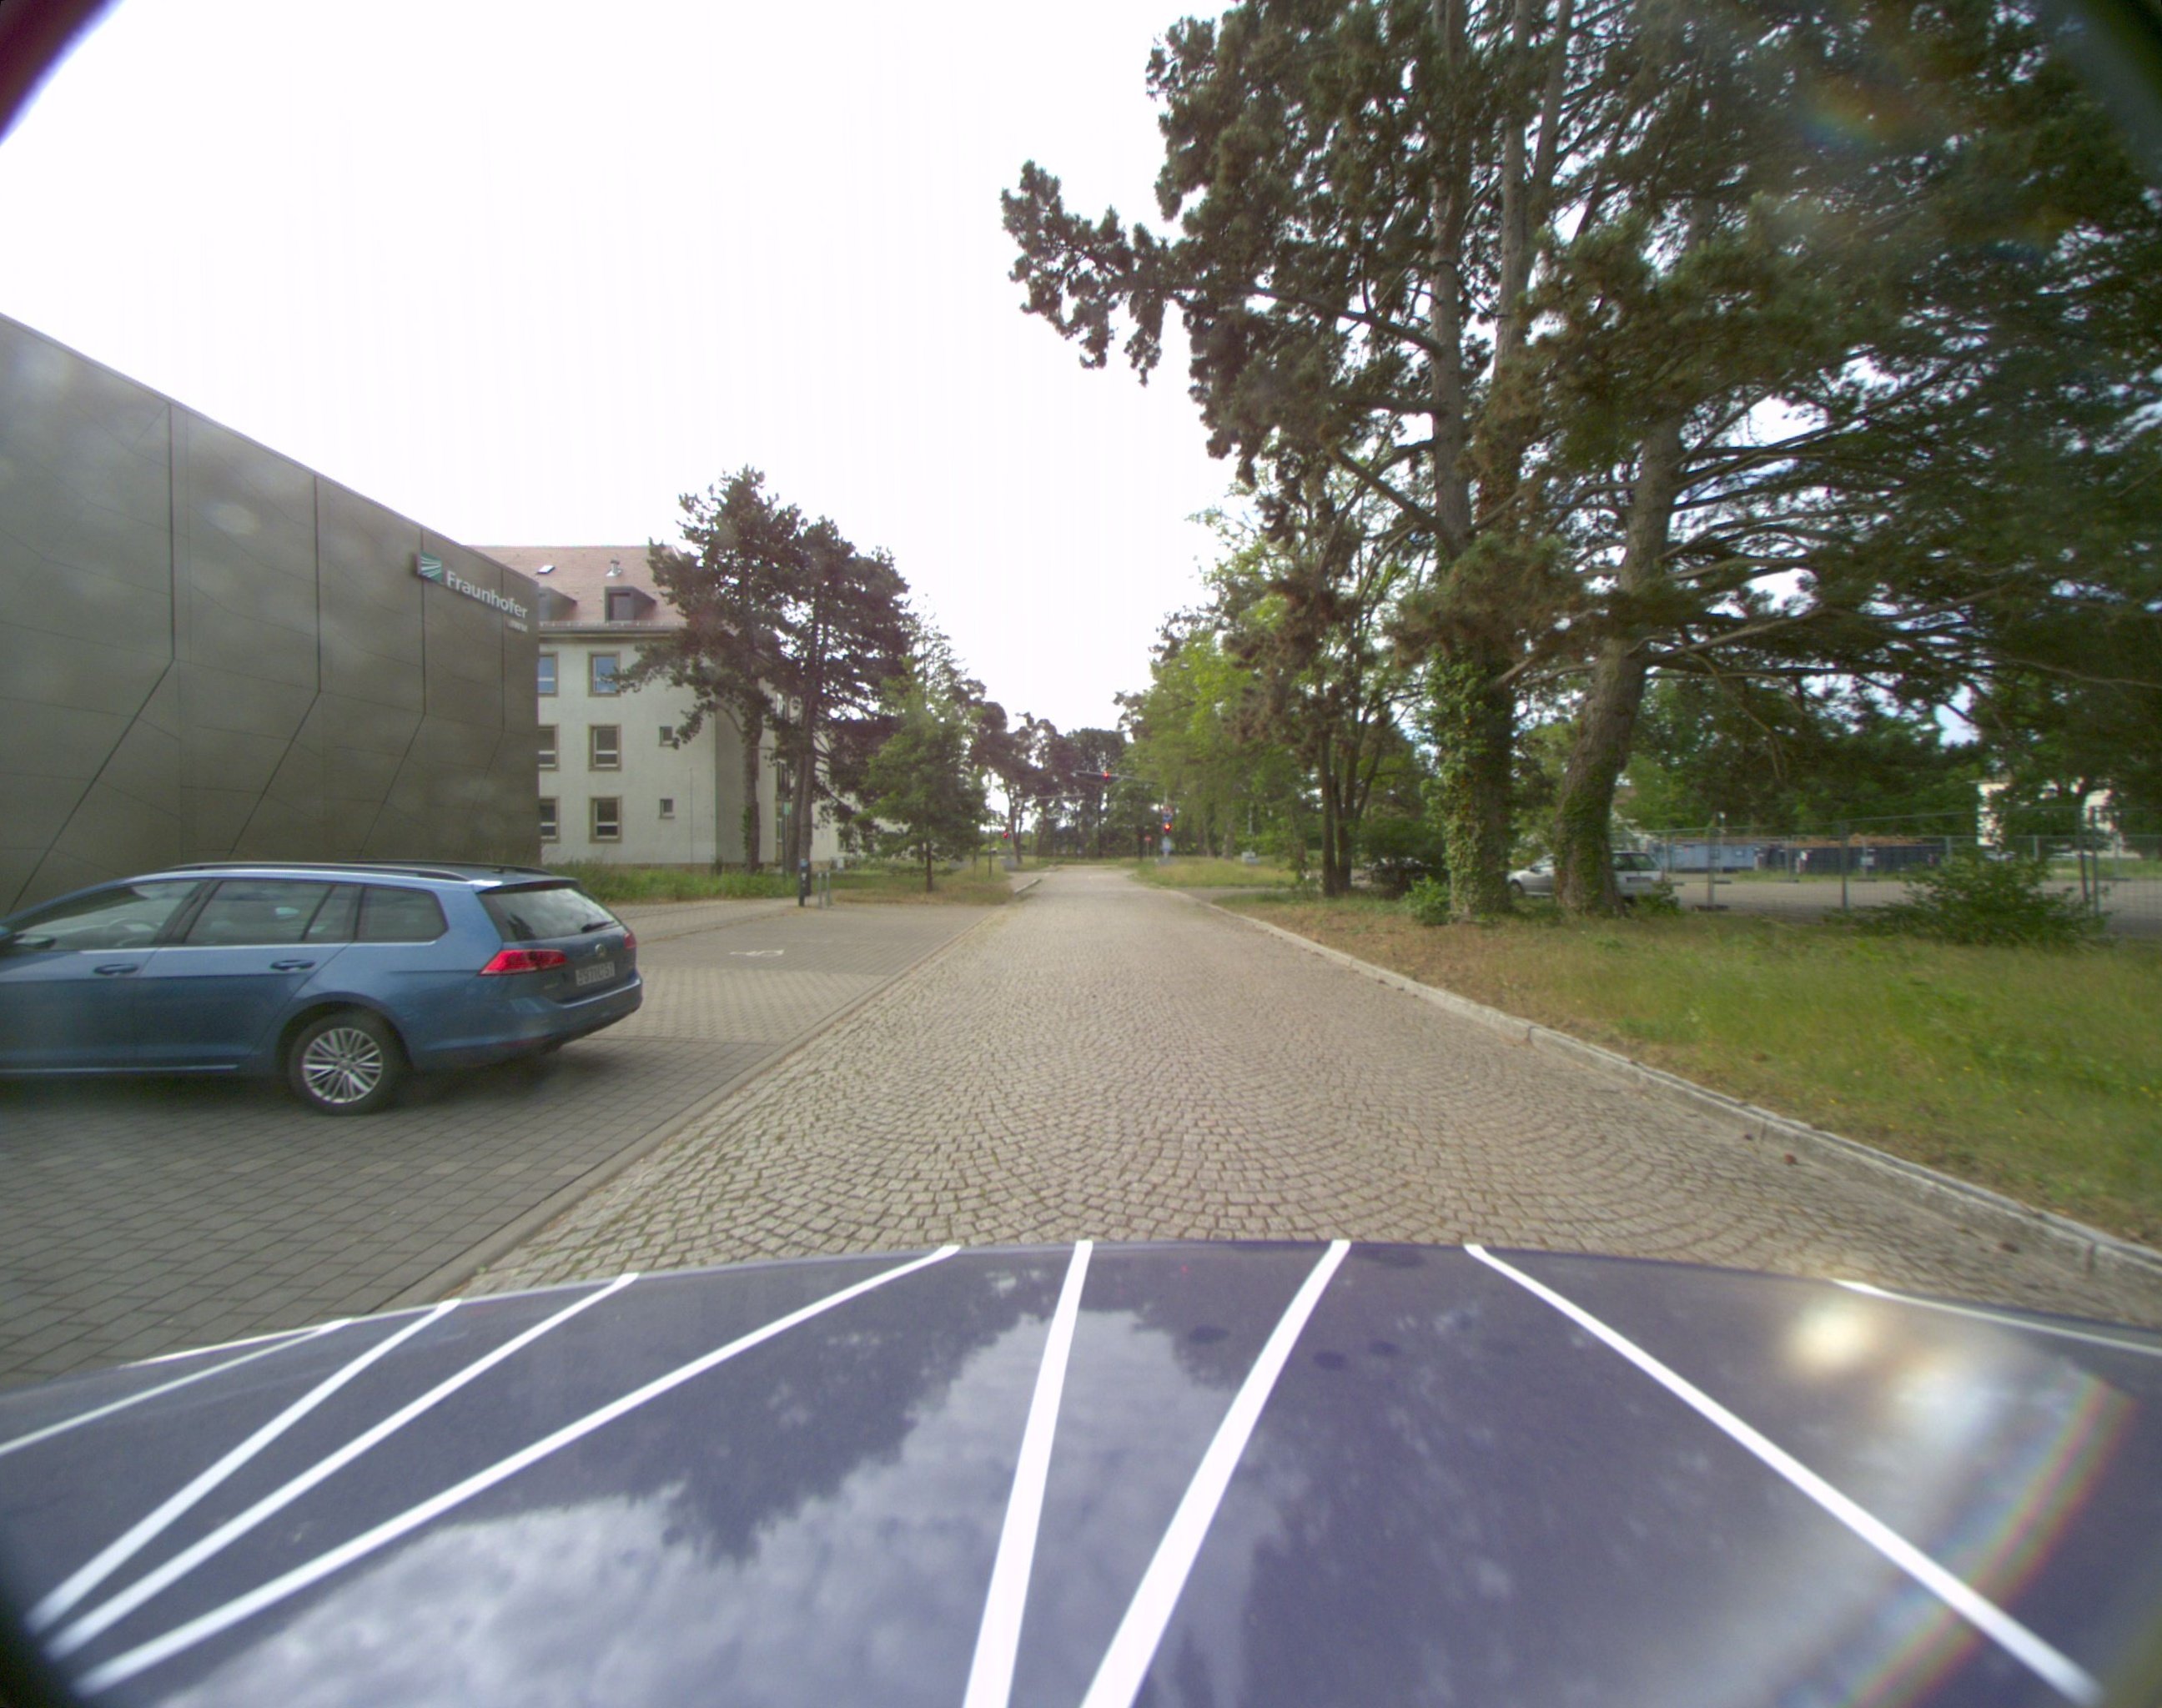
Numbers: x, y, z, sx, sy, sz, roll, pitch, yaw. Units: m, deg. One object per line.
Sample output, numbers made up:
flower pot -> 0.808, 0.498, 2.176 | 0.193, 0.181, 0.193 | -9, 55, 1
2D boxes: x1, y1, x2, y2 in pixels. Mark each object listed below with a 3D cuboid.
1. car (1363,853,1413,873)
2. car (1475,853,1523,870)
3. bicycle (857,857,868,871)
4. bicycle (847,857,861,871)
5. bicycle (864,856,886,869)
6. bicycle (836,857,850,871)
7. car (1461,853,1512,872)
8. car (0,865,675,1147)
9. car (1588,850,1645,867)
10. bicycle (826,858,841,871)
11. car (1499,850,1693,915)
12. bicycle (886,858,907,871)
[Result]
car -> 23.021, 0.654, 57.144 | 1.829, 1.417, 4.319 | 0, 0, -3
car -> 37.764, 0.643, 68.757 | 1.829, 1.466, 4.401 | 0, 0, -3
bicycle -> -18.674, 0.858, 64.838 | 0.476, 1.121, 1.656 | 0, 0, -1
bicycle -> -19.296, 0.849, 64.600 | 0.476, 1.121, 1.704 | 0, 0, 8
bicycle -> -17.098, 0.722, 63.210 | 1.655, 1.079, 0.615 | 0, 1, 2
bicycle -> -20.267, 0.856, 64.684 | 0.447, 1.121, 1.732 | 0, 0, 8
car -> 30.967, 0.600, 58.145 | 1.637, 1.391, 4.036 | 0, 0, -3
car -> -5.554, 0.891, 5.199 | 4.503, 1.466, 1.830 | 2, 0, -3
car -> 48.464, 0.397, 68.873 | 1.830, 1.466, 4.400 | 0, 0, -5
bicycle -> -21.060, 0.886, 64.631 | 0.447, 1.121, 1.732 | 0, 0, 8
car -> 13.008, 0.655, 19.592 | 1.829, 1.408, 4.420 | 2, 0, -2
bicycle -> -15.399, 0.880, 63.366 | 1.656, 1.079, 0.614 | 0, 1, -4
